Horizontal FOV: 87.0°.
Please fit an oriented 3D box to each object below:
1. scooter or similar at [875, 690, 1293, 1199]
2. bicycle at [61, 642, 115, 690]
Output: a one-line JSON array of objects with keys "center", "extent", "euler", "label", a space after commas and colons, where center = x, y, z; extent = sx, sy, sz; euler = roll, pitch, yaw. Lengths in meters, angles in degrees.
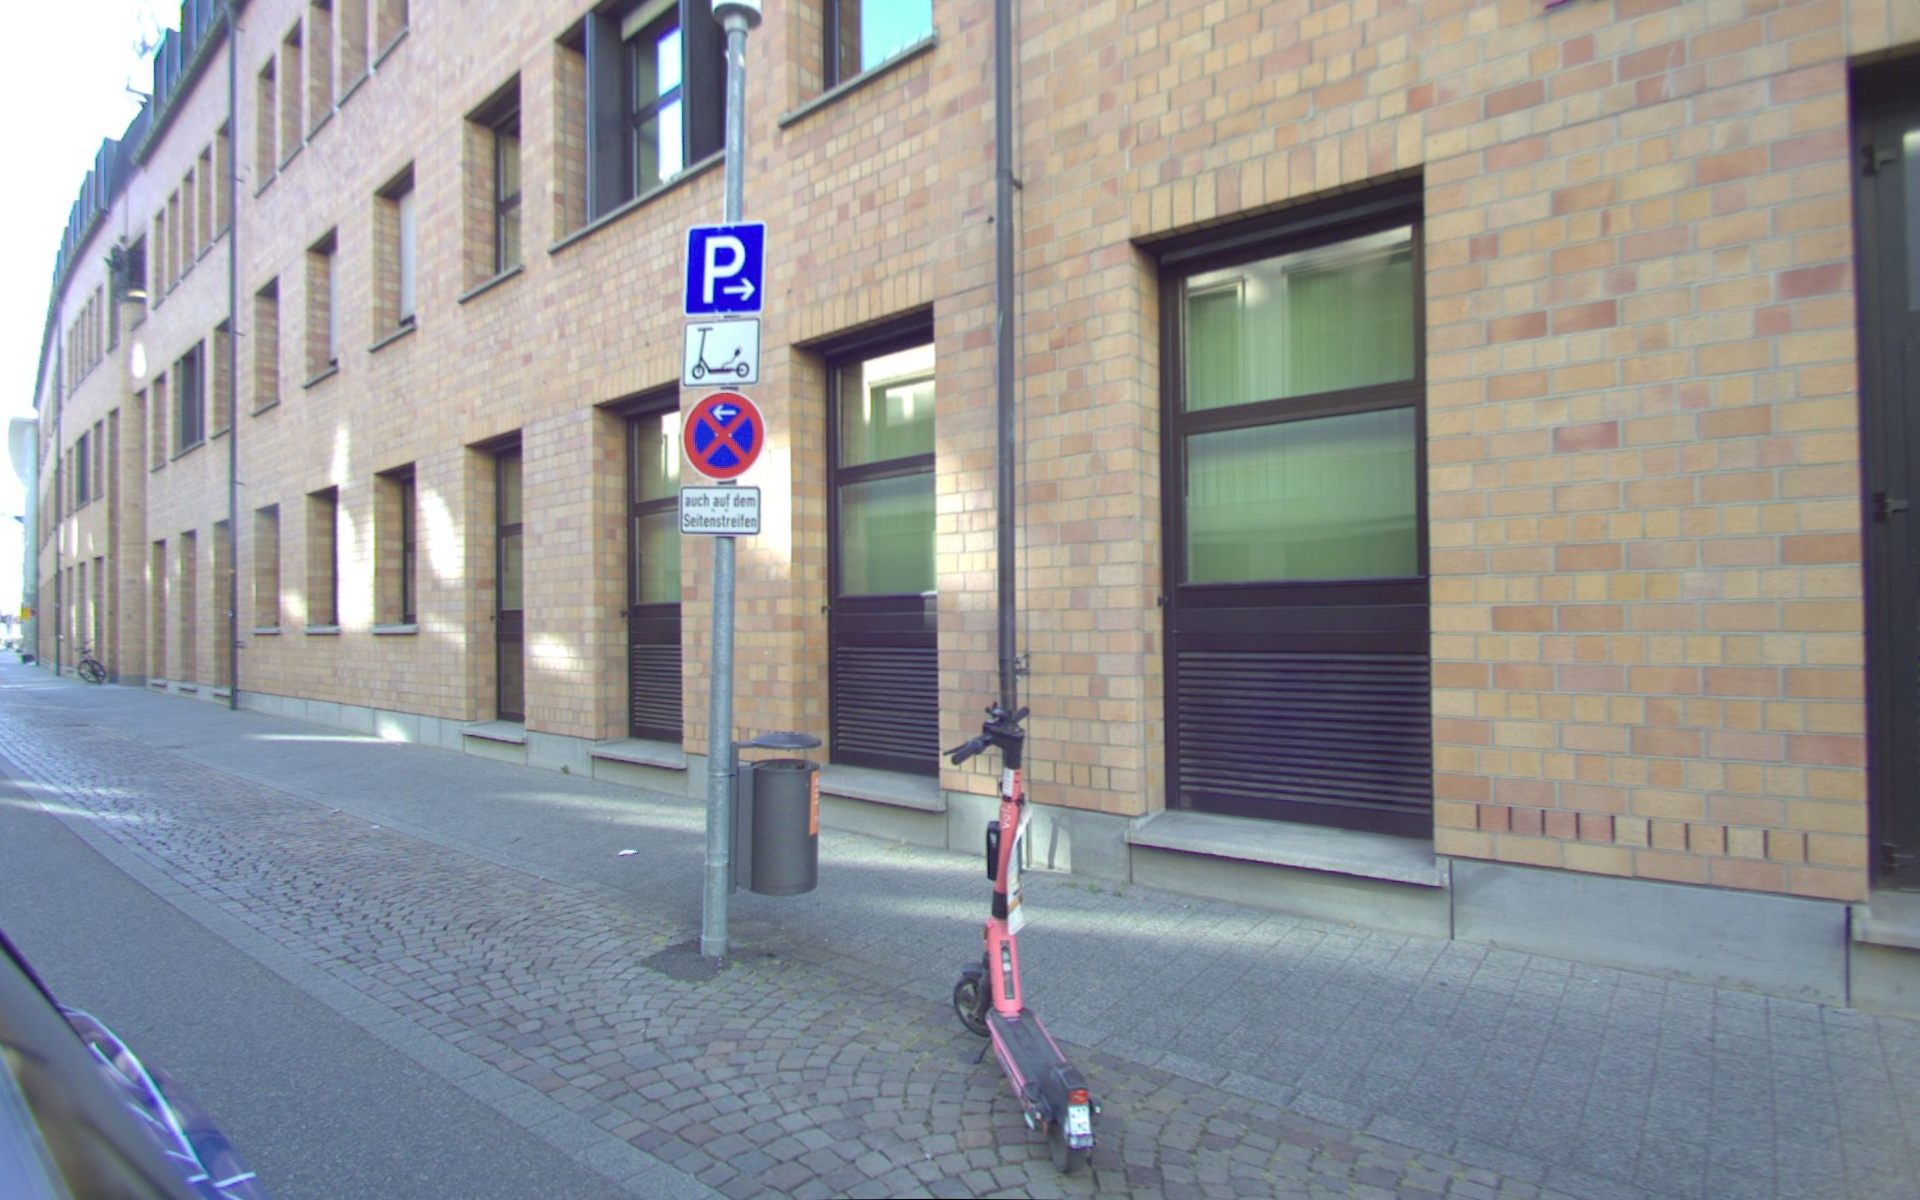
[{"center": [0.276, 0.939, 3.136], "extent": [0.688, 1.227, 1.361], "euler": [0, -2, -23], "label": "scooter or similar"}, {"center": [-23.039, 1.732, 26.734], "extent": [1.800, 1.171, 0.626], "euler": [-3, 1, 36], "label": "bicycle"}]
